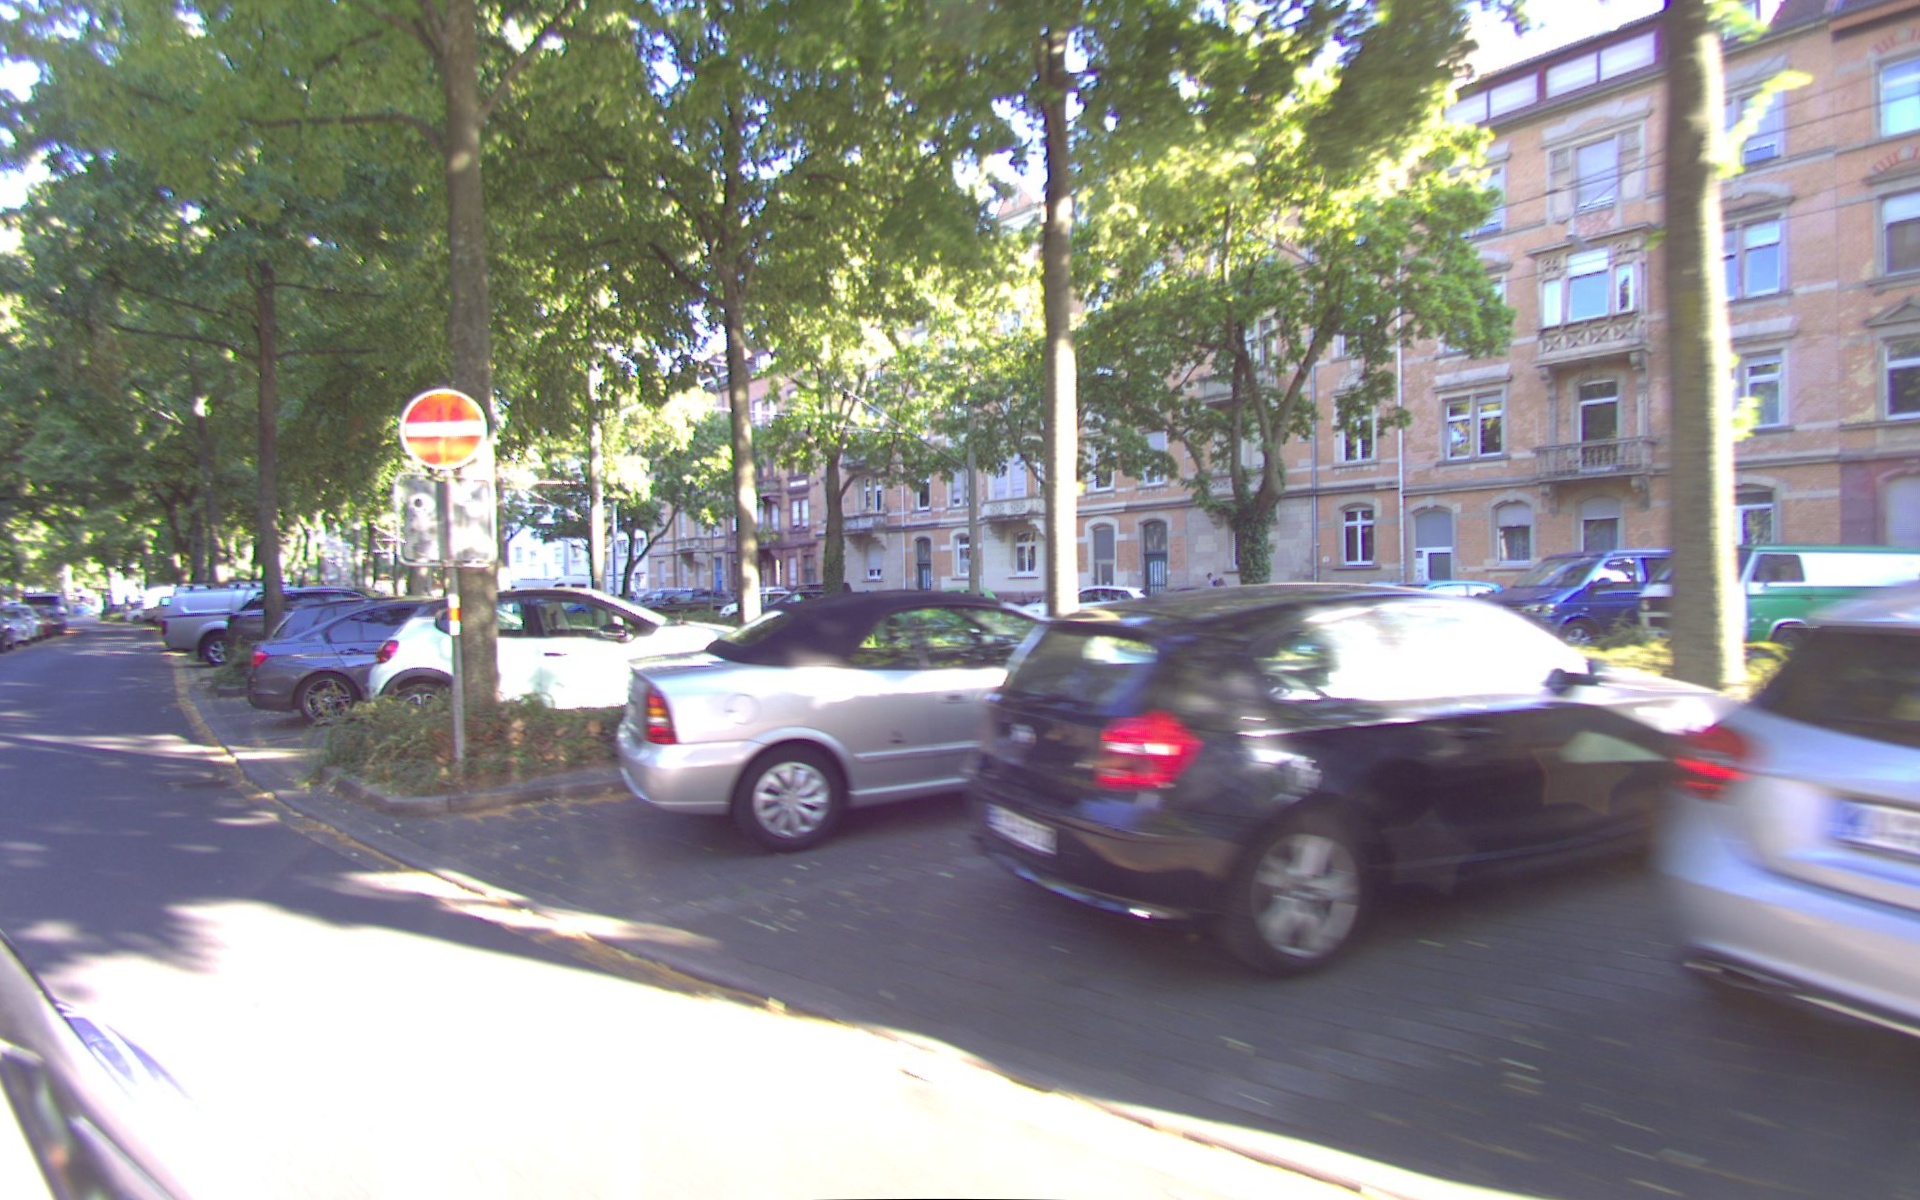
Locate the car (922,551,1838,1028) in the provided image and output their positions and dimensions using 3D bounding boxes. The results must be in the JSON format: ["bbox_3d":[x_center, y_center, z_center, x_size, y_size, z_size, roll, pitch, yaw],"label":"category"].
[{"bbox_3d":[2.017,0.548,4.824,3.970,1.416,1.780,-3,2,-25],"label":"car"}]

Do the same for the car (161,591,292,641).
[{"bbox_3d":[-34.925,0.731,48.301,4.640,1.957,1.938,-4,2,-6],"label":"car"}]

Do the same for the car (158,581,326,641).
[{"bbox_3d":[-30.744,0.441,43.512,5.426,2.152,2.086,-4,2,-10],"label":"car"}]

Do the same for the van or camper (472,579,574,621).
[{"bbox_3d":[-27.067,-0.006,62.833,5.581,2.487,2.006,0,0,-16],"label":"van or camper"}]

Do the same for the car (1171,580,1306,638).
[{"bbox_3d":[9.206,0.291,33.648,1.772,1.789,4.005,-1,0,-42],"label":"car"}]

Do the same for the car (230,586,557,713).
[{"bbox_3d":[-8.168,0.652,14.991,3.808,1.449,1.837,-4,2,-14],"label":"car"}]

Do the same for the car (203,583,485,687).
[{"bbox_3d":[-12.015,0.623,20.047,4.287,1.638,1.946,-4,2,-11],"label":"car"}]

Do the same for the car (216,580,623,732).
[{"bbox_3d":[-6.540,0.602,12.776,4.130,1.449,1.837,-4,2,-14],"label":"car"}]

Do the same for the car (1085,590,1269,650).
[{"bbox_3d":[5.460,0.474,25.662,4.221,1.391,1.597,-1,0,-8],"label":"car"}]

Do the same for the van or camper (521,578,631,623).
[{"bbox_3d":[-21.258,0.019,56.271,5.460,2.389,2.313,0,0,-12],"label":"van or camper"}]

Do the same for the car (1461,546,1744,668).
[{"bbox_3d":[11.571,0.101,18.392,3.937,2.029,2.004,-1,0,-8],"label":"car"}]

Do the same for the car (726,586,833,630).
[{"bbox_3d":[-6.999,0.285,39.087,3.933,1.590,2.005,-1,0,-14],"label":"car"}]

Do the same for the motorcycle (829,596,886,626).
[{"bbox_3d":[-3.450,0.351,34.119,1.697,0.962,1.024,-1,0,-19],"label":"motorcycle"}]

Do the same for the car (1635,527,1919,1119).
[{"bbox_3d":[4.343,0.455,3.050,4.220,1.440,1.780,-3,2,-23],"label":"car"}]

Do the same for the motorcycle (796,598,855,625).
[{"bbox_3d":[-4.684,0.382,35.402,1.948,0.895,1.021,-1,0,-3],"label":"motorcycle"}]

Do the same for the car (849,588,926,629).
[{"bbox_3d":[-3.528,0.421,48.910,1.829,1.796,3.513,-5,2,-41],"label":"car"}]

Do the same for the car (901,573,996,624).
[{"bbox_3d":[-0.554,-0.027,44.550,1.970,2.028,4.005,-5,2,-41],"label":"car"}]

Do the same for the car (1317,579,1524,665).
[{"bbox_3d":[9.537,0.424,21.070,3.592,1.652,1.664,-1,0,-10],"label":"car"}]

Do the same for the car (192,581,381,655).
[{"bbox_3d":[-19.392,0.480,29.280,4.100,1.794,1.885,-3,2,-2],"label":"car"}]

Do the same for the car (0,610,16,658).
[{"bbox_3d":[-30.932,1.068,31.662,1.659,1.434,4.668,-2,1,-39],"label":"car"}]

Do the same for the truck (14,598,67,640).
[{"bbox_3d":[-56.691,1.118,62.443,2.268,2.404,6.943,-2,1,-42],"label":"truck"}]

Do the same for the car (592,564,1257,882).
[{"bbox_3d":[-0.237,0.575,6.644,3.917,1.375,1.780,-4,3,-23],"label":"car"}]

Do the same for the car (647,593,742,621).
[{"bbox_3d":[-12.160,0.320,46.578,4.135,1.176,1.503,-1,0,-12],"label":"car"}]

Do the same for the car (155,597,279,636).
[{"bbox_3d":[-36.847,0.798,50.297,4.501,1.552,1.938,-4,2,-6],"label":"car"}]

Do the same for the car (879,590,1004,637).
[{"bbox_3d":[-0.614,0.397,32.112,3.676,1.391,1.712,-1,0,-14],"label":"car"}]

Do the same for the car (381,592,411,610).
[{"bbox_3d":[-64.466,0.112,115.628,1.970,2.029,4.003,-1,0,-44],"label":"car"}]

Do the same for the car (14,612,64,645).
[{"bbox_3d":[-43.970,1.315,48.380,1.652,1.465,3.955,-2,1,-41],"label":"car"}]

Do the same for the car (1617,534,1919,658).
[{"bbox_3d":[13.324,-0.092,16.030,4.756,1.778,2.090,-1,0,-12],"label":"car"}]

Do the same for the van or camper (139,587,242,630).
[{"bbox_3d":[-50.606,0.507,66.659,4.805,2.488,2.051,-3,2,-13],"label":"van or camper"}]

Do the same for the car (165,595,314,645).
[{"bbox_3d":[-29.058,0.762,40.981,4.444,1.628,1.940,-4,2,-15],"label":"car"}]

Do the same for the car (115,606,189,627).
[{"bbox_3d":[-65.370,1.333,81.965,4.241,1.414,1.750,-4,1,-18],"label":"car"}]

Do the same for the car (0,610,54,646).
[{"bbox_3d":[-40.875,1.193,44.352,1.571,1.465,3.561,-2,1,-40],"label":"car"}]

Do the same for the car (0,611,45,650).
[{"bbox_3d":[-37.483,1.183,40.053,1.659,1.465,4.083,-2,1,-40],"label":"car"}]

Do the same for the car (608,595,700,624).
[{"bbox_3d":[-14.689,0.434,48.743,4.120,1.320,1.640,-1,0,-11],"label":"car"}]

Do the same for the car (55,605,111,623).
[{"bbox_3d":[-98.222,1.511,113.400,4.367,1.634,1.640,-4,3,-24],"label":"car"}]

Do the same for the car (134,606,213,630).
[{"bbox_3d":[-58.675,1.338,75.599,4.173,1.451,1.862,-4,2,-15],"label":"car"}]

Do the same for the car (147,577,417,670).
[{"bbox_3d":[-16.068,0.504,24.283,4.921,1.794,1.992,-4,2,-11],"label":"car"}]

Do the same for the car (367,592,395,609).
[{"bbox_3d":[-68.751,0.079,120.162,1.970,2.029,4.003,-1,0,-44],"label":"car"}]

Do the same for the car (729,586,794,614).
[{"bbox_3d":[-11.302,0.030,57.539,1.828,1.542,4.030,2,-2,-41],"label":"car"}]

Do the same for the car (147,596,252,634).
[{"bbox_3d":[-48.325,0.927,64.409,4.807,1.992,2.050,-3,2,-11],"label":"car"}]

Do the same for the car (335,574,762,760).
[{"bbox_3d":[-4.131,0.595,10.771,3.821,1.504,1.837,-4,2,-12],"label":"car"}]

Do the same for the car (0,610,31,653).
[{"bbox_3d":[-34.491,1.119,36.250,1.661,1.465,4.079,-2,1,-44],"label":"car"}]

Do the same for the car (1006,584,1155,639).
[{"bbox_3d":[3.297,0.292,27.996,3.676,1.391,1.732,-1,0,-15],"label":"car"}]

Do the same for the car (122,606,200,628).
[{"bbox_3d":[-63.180,1.347,80.080,4.391,1.414,1.862,-4,1,-15],"label":"car"}]

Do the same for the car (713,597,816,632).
[{"bbox_3d":[-8.008,0.560,41.496,3.931,1.327,1.599,-1,0,-20],"label":"car"}]

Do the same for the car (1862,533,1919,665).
[{"bbox_3d":[15.379,-0.057,13.981,4.972,1.778,2.091,-1,0,-18],"label":"car"}]

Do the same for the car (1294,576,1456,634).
[{"bbox_3d":[12.346,0.177,30.292,1.829,1.530,4.065,-5,2,-41],"label":"car"}]
